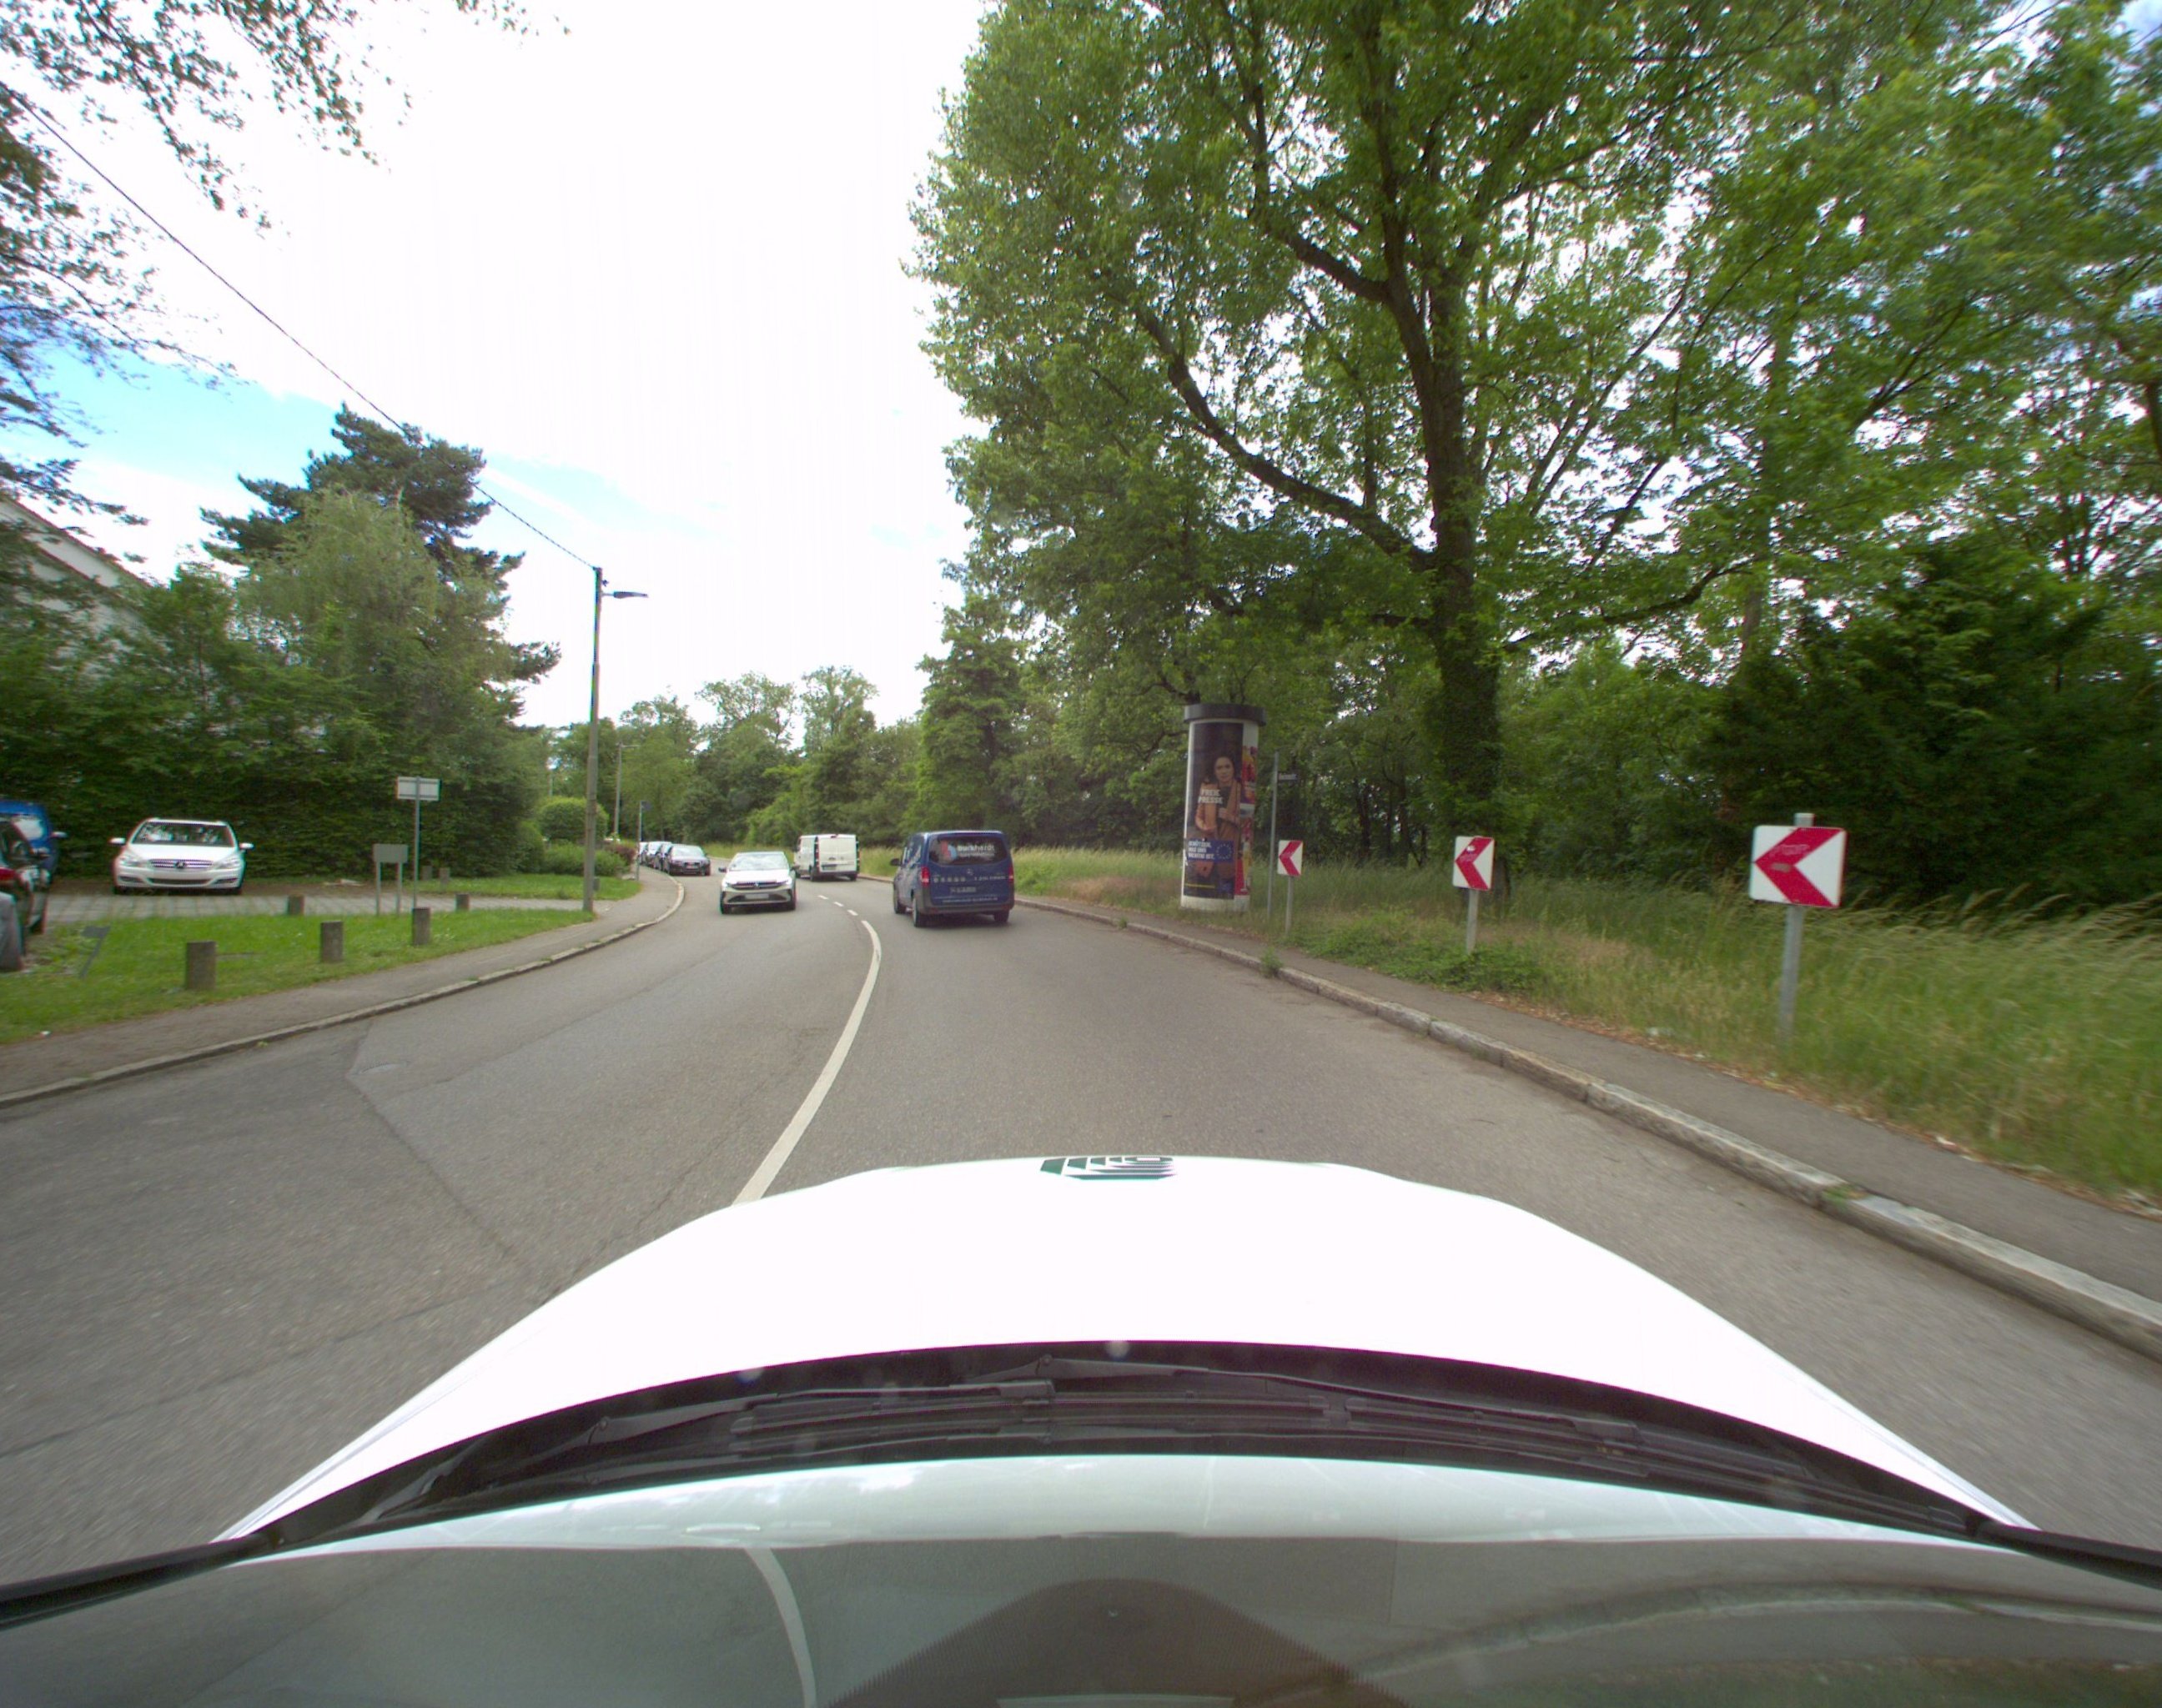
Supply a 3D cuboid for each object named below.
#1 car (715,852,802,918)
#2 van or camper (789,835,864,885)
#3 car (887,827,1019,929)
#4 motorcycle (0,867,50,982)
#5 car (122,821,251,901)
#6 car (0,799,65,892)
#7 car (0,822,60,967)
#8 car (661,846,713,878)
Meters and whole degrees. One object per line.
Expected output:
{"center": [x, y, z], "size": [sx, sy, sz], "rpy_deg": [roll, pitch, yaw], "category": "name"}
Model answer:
{"center": [-8.415, 0.738, 21.562], "size": [1.728, 1.457, 4.055], "rpy_deg": [-3, 1, -17], "category": "car"}
{"center": [-10.999, 0.172, 34.949], "size": [2.032, 1.956, 4.850], "rpy_deg": [-1, 2, -30], "category": "van or camper"}
{"center": [-2.845, 0.441, 17.260], "size": [1.920, 1.837, 4.264], "rpy_deg": [-2, 0, -20], "category": "car"}
{"center": [-11.964, 0.720, 8.083], "size": [0.854, 1.151, 2.079], "rpy_deg": [2, 0, 41], "category": "motorcycle"}
{"center": [-19.910, 0.100, 18.219], "size": [4.218, 1.594, 1.758], "rpy_deg": [2, 0, 43], "category": "car"}
{"center": [-21.870, -0.245, 16.291], "size": [4.210, 1.732, 1.758], "rpy_deg": [3, 1, 37], "category": "car"}
{"center": [-14.081, 0.389, 9.963], "size": [4.278, 1.594, 1.758], "rpy_deg": [2, 0, 41], "category": "car"}
{"center": [-18.975, 0.335, 39.134], "size": [1.747, 1.418, 4.458], "rpy_deg": [0, 1, -33], "category": "car"}
